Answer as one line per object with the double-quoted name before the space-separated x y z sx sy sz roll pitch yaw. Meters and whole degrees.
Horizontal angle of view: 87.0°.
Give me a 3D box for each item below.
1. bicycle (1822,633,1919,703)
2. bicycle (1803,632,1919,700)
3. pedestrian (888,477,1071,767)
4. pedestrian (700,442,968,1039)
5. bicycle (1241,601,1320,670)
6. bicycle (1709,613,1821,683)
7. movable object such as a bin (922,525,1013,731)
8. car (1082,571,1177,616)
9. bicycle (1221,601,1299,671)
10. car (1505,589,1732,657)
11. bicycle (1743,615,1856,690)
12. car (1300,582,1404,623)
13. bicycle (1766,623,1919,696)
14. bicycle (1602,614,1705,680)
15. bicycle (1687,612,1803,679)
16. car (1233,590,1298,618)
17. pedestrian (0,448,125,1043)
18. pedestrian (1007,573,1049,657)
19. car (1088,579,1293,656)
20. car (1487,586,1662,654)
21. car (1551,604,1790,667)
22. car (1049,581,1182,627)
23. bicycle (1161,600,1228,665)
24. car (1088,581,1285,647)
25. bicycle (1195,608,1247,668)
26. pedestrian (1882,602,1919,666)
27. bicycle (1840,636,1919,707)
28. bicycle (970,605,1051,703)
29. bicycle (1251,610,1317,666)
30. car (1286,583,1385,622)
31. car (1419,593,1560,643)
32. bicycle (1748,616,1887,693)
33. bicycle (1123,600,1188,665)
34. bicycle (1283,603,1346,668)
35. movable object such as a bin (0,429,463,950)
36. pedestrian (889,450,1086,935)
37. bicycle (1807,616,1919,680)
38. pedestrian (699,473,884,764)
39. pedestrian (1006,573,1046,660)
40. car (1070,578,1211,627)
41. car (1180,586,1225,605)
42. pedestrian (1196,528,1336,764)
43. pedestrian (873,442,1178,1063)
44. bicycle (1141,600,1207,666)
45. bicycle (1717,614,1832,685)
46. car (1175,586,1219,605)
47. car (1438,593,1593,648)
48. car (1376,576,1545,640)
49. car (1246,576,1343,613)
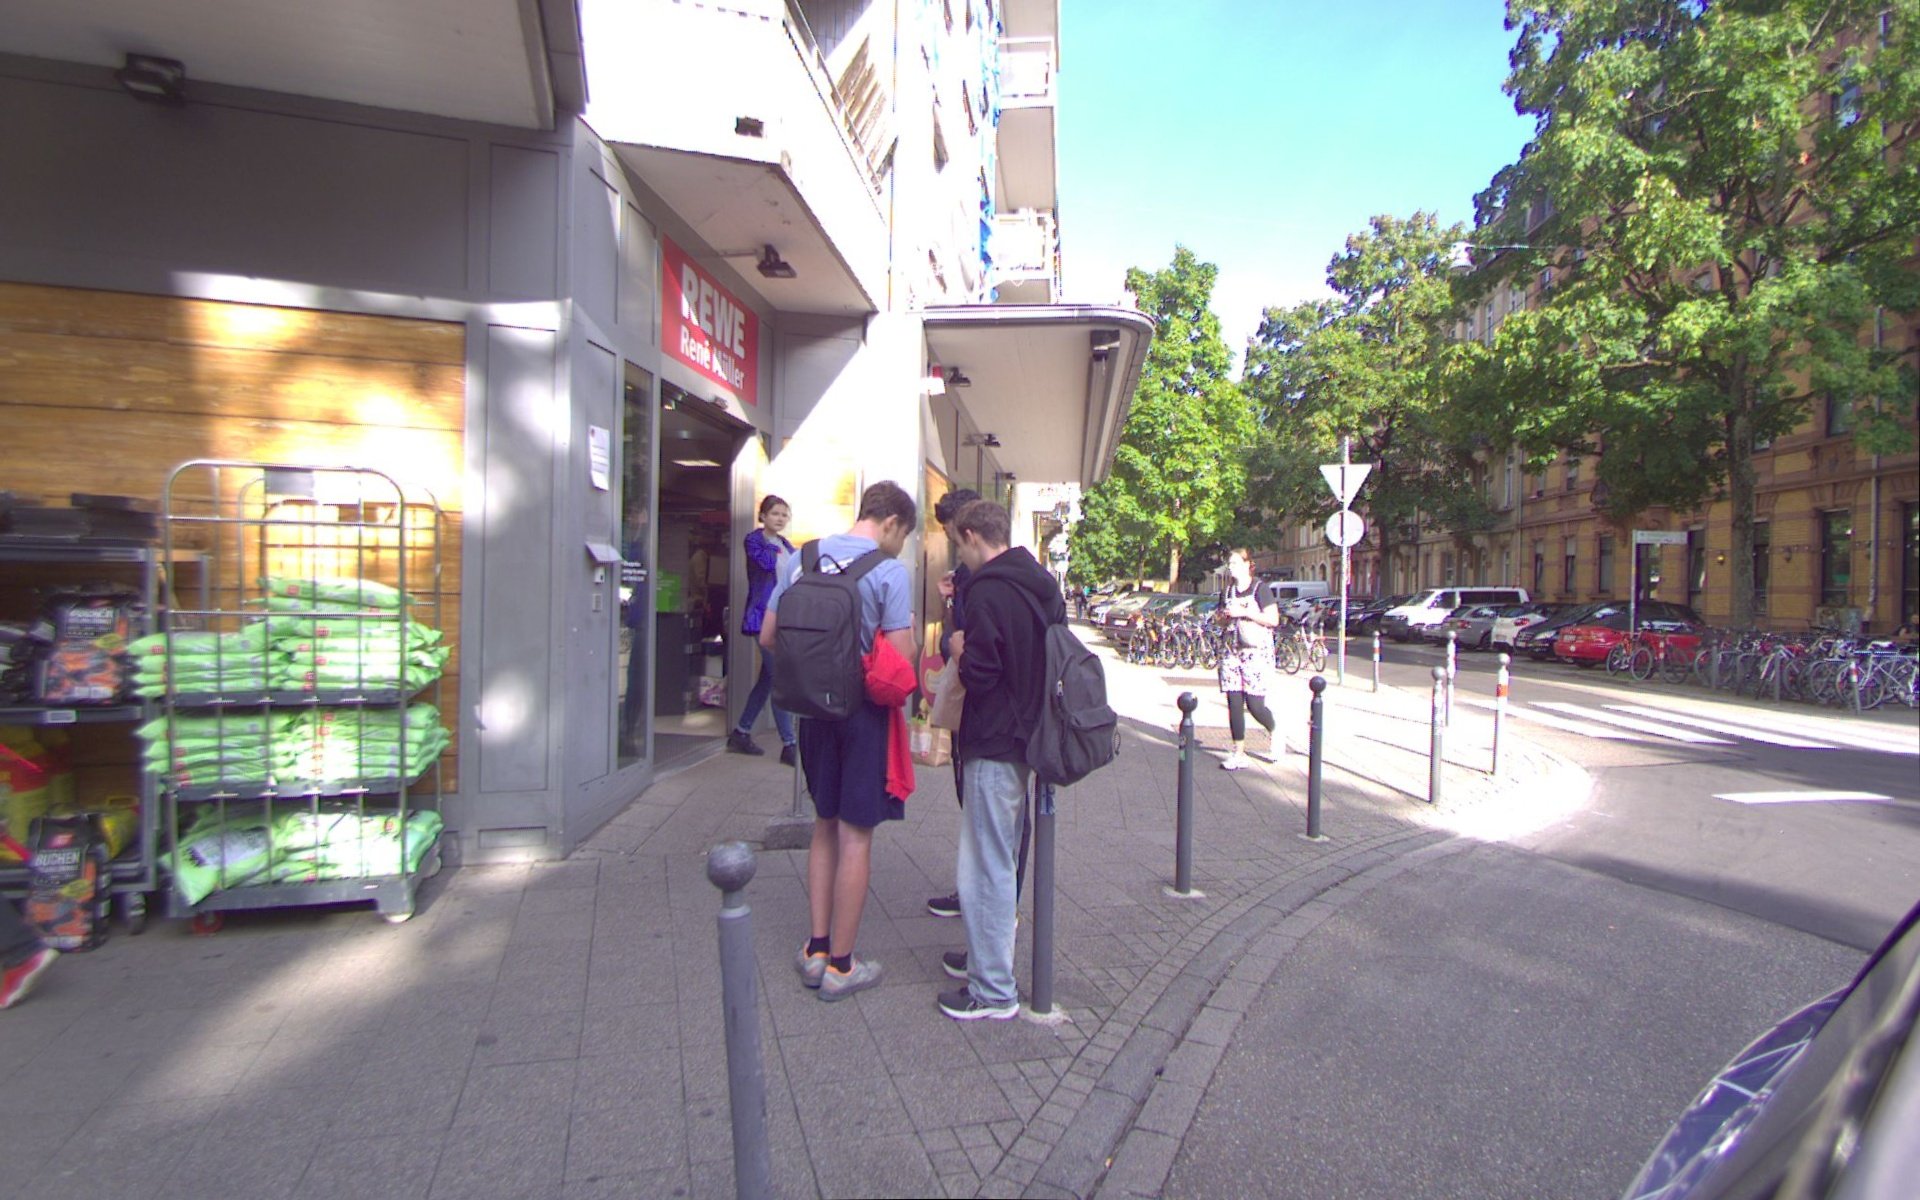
"bicycle" 14.135 1.024 15.250 1.691 0.999 0.445 0 1 21
"bicycle" 14.202 1.011 15.685 1.691 0.999 0.445 0 1 21
"pedestrian" 0.149 0.142 7.776 1.017 2.038 0.862 1 2 -44
"pedestrian" -0.409 0.411 3.510 0.623 1.819 0.711 4 3 15
"bicycle" 5.970 0.638 18.954 0.404 1.190 1.857 2 0 -17
"bicycle" 14.667 0.870 18.456 1.680 1.216 0.448 -1 1 0
"movable object such as a bin" 0.101 0.234 9.696 0.678 1.776 1.547 3 1 5
"car" 9.286 -0.324 55.477 4.710 2.249 2.152 2 0 -24
"bicycle" 5.578 0.639 18.921 0.404 1.190 1.857 2 0 -17
"car" 16.223 0.552 25.172 4.248 1.589 1.999 -1 0 14
"bicycle" 14.470 0.895 17.446 1.678 1.216 0.449 -1 1 -6
"car" 19.369 0.101 50.204 4.380 1.856 1.934 -2 1 5
"bicycle" 14.200 0.936 16.164 2.020 1.102 0.445 0 1 21
"bicycle" 13.596 0.895 19.943 0.572 1.109 2.495 -2 1 8
"bicycle" 14.722 0.842 19.000 1.686 1.216 0.447 0 1 12
"car" 21.390 0.289 70.974 4.057 1.898 1.995 1 -1 8
"pedestrian" -3.081 0.382 3.022 0.697 1.652 0.726 1 3 -19
"pedestrian" 1.271 0.263 18.933 0.740 1.525 0.667 1 0 4
"car" 5.001 0.366 22.078 3.915 1.473 1.815 2 1 -16
"car" 16.804 0.520 27.834 3.648 1.743 1.856 1 -1 10
"car" 15.624 0.778 22.425 4.040 1.286 1.565 -1 -1 6
"car" 5.766 0.162 37.537 4.532 1.514 1.754 2 0 -20
"bicycle" 4.400 0.596 19.111 0.412 1.099 1.703 2 2 -16
"car" 5.648 0.359 25.124 4.570 1.473 1.959 2 0 -27
"bicycle" 4.877 0.685 18.954 0.405 1.031 1.504 2 0 -6
"pedestrian" 19.848 0.704 21.032 0.756 1.301 0.628 -1 0 6
"bicycle" 14.037 1.045 14.806 1.691 0.981 0.445 0 1 21
"bicycle" 0.629 0.606 12.055 0.575 1.046 1.527 3 1 17
"bicycle" 6.384 0.742 19.995 0.482 1.014 1.426 2 0 -17
"car" 19.362 0.125 52.392 4.380 1.856 1.934 -2 1 5
"car" 17.068 0.570 32.789 3.647 1.476 1.665 -2 1 10
"bicycle" 14.188 0.891 16.783 1.691 1.216 0.445 0 1 21
"bicycle" 3.626 0.582 18.876 0.412 1.099 1.703 2 2 -16
"bicycle" 7.040 0.681 20.175 0.405 1.190 1.855 2 0 -6
"movable object such as a bin" -3.260 0.297 3.840 2.372 1.766 0.784 1 0 -20
"pedestrian" 0.080 0.343 4.153 0.645 1.819 0.656 3 3 -5
"bicycle" 16.675 0.868 18.468 1.772 1.128 0.598 0 1 12
"pedestrian" -1.117 0.100 6.736 0.924 1.775 0.756 1 0 33
"pedestrian" 1.172 0.285 18.098 0.655 1.525 0.753 1 0 2
"car" 6.270 0.090 35.161 4.532 1.514 1.754 2 0 -20
"car" 23.227 -0.439 97.049 3.931 1.754 1.826 1 -1 7
"pedestrian" 2.427 0.345 8.051 0.825 1.775 0.615 1 0 -24
"pedestrian" 0.218 0.423 3.405 0.711 1.819 0.624 5 3 38
"bicycle" 3.979 0.588 18.931 0.412 1.099 1.703 2 2 -16
"bicycle" 14.473 0.877 18.004 1.680 1.216 0.448 -1 1 0
"car" 23.292 -0.415 99.542 3.931 1.754 1.826 1 -1 7
"car" 16.462 0.610 30.153 3.647 1.476 1.665 -2 -1 10
"car" 17.405 0.258 35.396 4.824 2.014 2.045 -2 1 5
"car" 20.696 -0.334 62.809 5.390 2.229 1.995 1 -1 8
